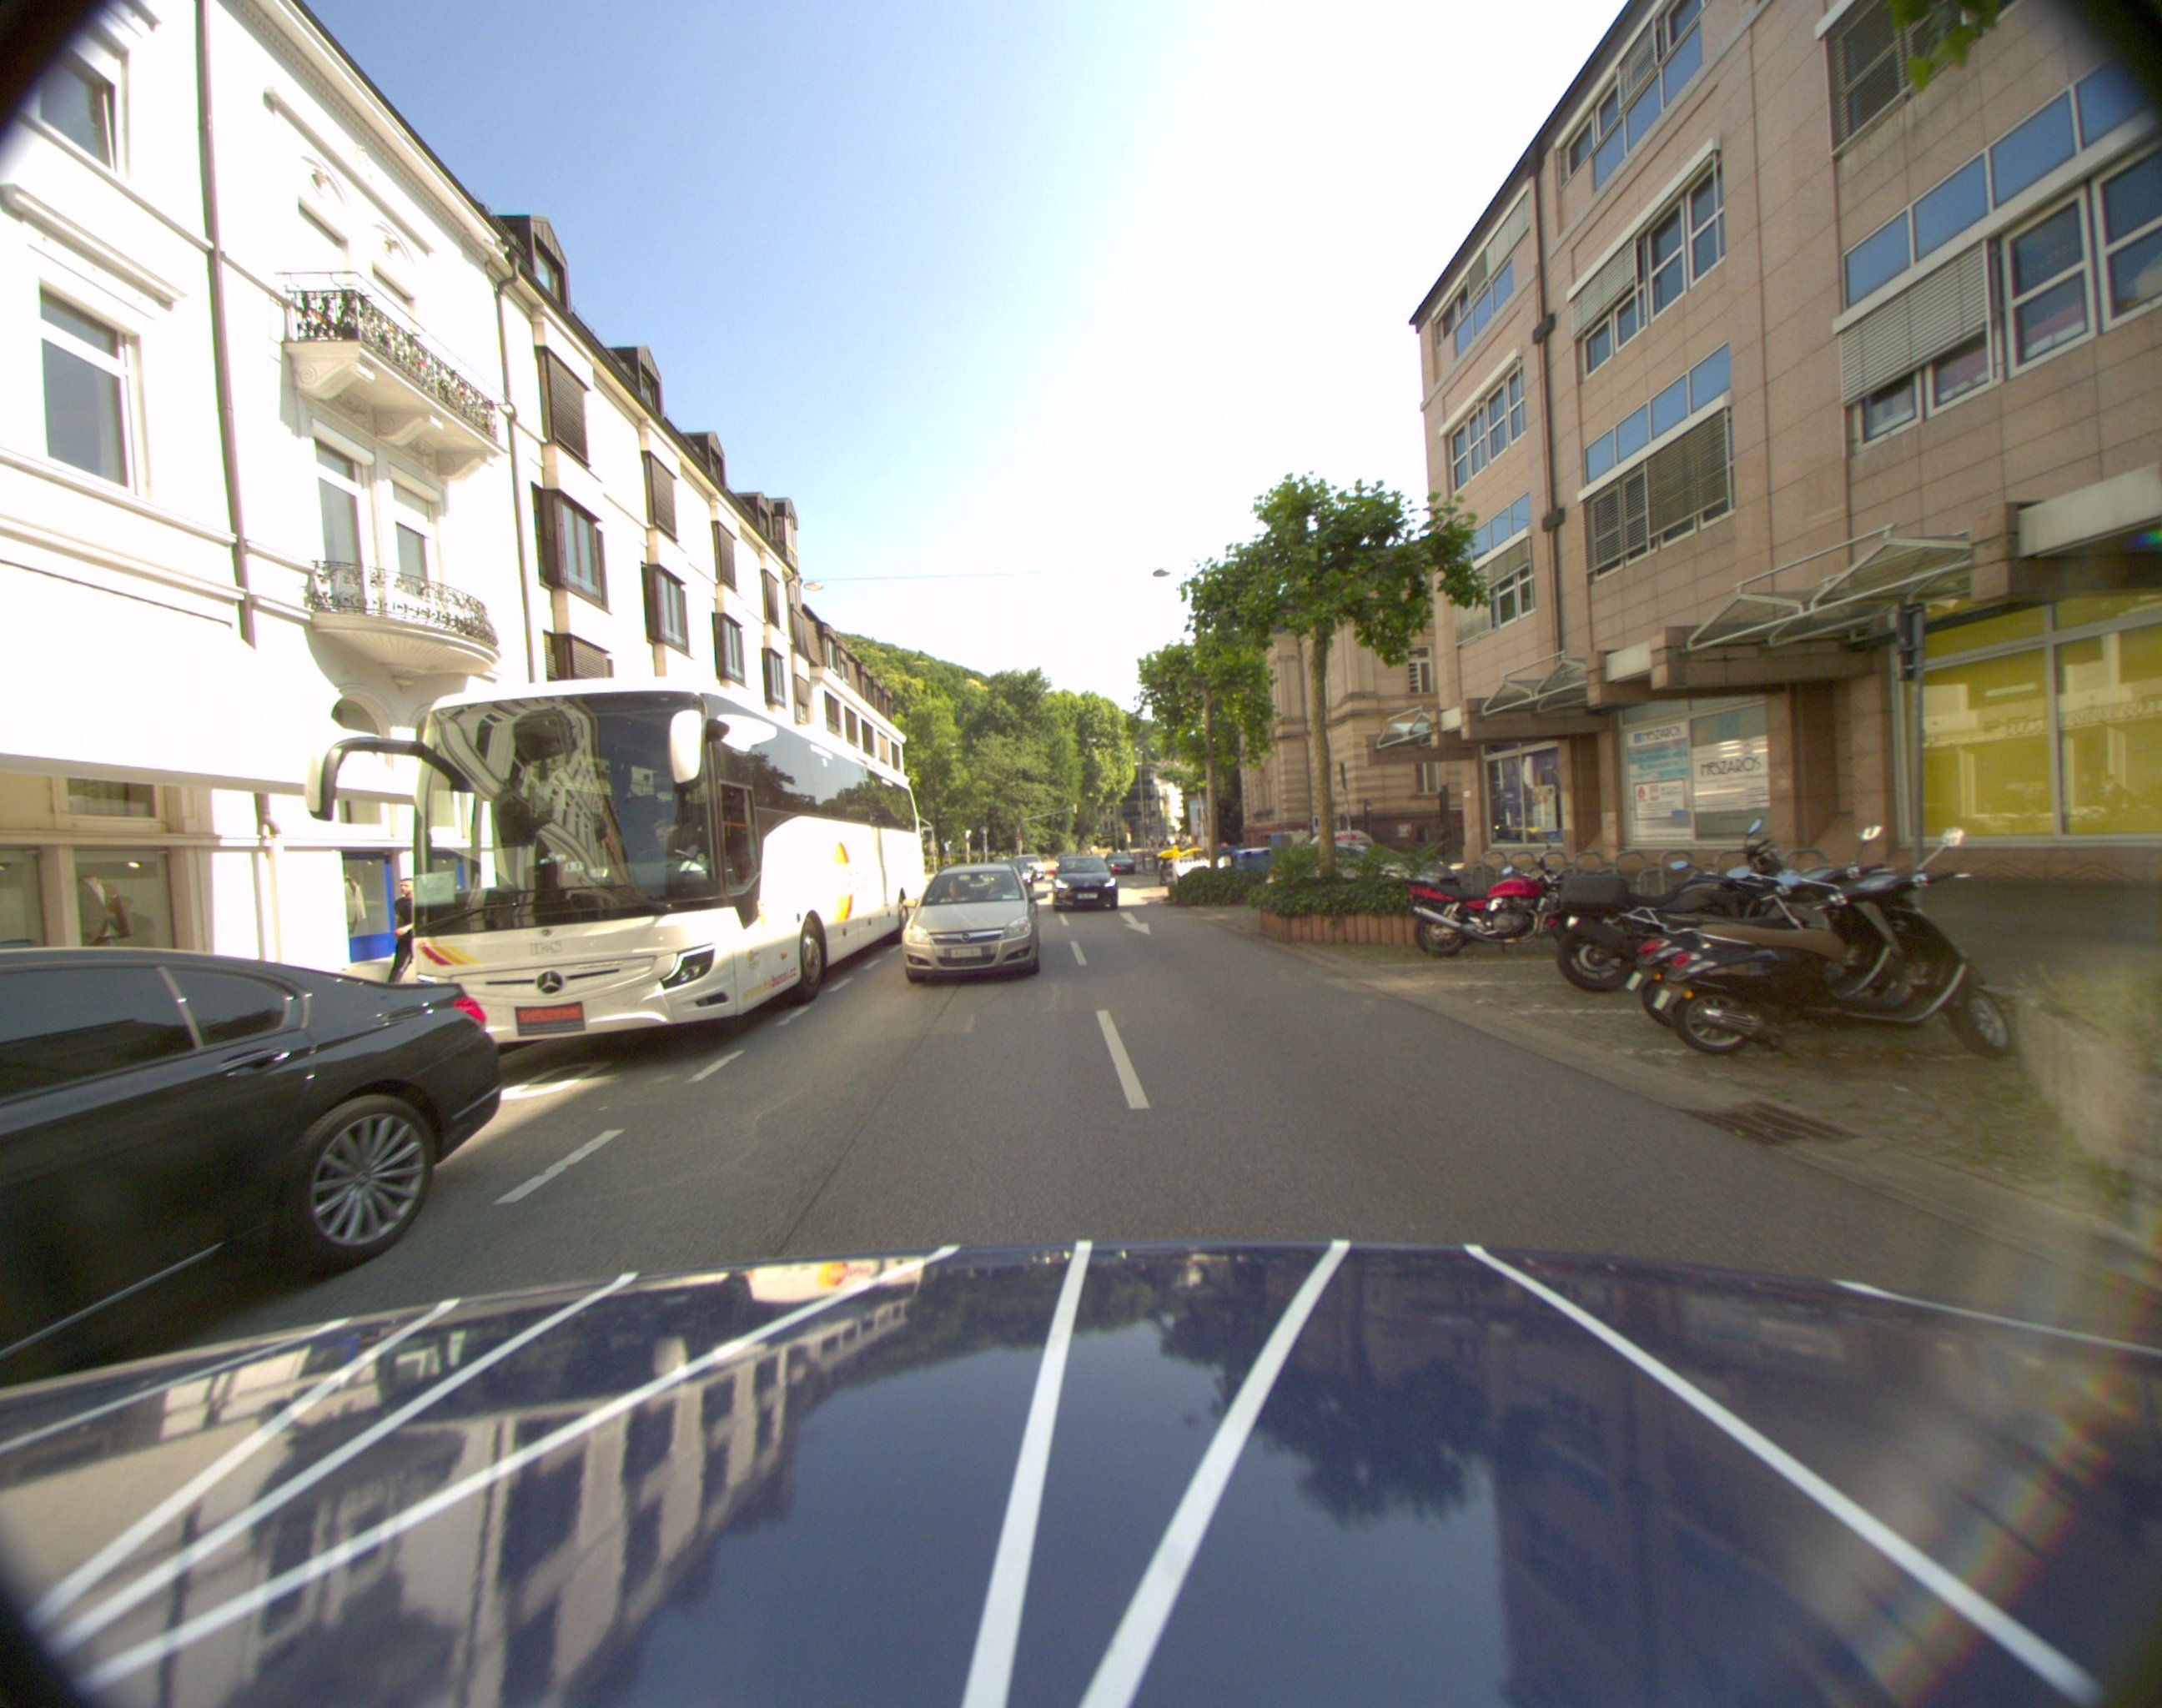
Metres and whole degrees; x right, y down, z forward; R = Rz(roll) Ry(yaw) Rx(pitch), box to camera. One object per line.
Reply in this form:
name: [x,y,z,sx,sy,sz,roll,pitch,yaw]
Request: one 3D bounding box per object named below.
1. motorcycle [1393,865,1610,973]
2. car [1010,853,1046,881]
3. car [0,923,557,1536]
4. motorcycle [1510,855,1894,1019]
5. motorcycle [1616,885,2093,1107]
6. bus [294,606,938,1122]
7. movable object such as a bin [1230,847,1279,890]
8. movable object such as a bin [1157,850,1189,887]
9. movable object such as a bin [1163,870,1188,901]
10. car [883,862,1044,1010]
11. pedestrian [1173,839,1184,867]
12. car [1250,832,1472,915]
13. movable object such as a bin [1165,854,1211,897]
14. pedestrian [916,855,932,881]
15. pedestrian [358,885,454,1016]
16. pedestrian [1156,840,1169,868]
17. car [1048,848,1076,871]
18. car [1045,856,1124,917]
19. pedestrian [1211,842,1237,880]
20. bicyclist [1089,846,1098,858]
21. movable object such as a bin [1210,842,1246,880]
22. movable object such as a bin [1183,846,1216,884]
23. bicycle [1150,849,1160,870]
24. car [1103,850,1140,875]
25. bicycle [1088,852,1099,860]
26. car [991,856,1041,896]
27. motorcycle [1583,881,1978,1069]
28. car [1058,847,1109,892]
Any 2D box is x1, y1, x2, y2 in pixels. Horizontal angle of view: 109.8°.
motorcycle: [5.071,0.800,9.343,2.174,1.163,0.922,-4,0,25]
car: [-3.079,0.713,44.887,1.942,1.421,4.341,-4,1,-2]
car: [-3.938,1.223,1.719,1.864,1.461,5.224,-5,0,-2]
motorcycle: [5.430,0.733,6.944,2.348,1.260,1.295,-4,0,18]
motorcycle: [4.647,0.851,4.764,1.913,1.163,0.761,-4,0,18]
bus: [-4.690,0.029,12.056,2.889,3.720,12.421,-6,1,-3]
movable object such as a bin: [5.776,0.492,25.368,1.212,1.292,1.079,-6,0,-2]
movable object such as a bin: [3.822,0.604,31.839,1.126,1.442,1.439,-5,0,3]
movable object such as a bin: [2.924,0.964,23.551,0.556,0.934,0.499,-2,0,-28]
car: [-1.455,0.970,10.964,1.712,1.513,4.405,-4,1,-2]
pedestrian: [5.993,-0.074,46.878,0.550,1.656,0.937,-3,2,6]
car: [6.024,0.450,16.550,4.048,1.486,1.939,-5,0,39]
movable object such as a bin: [3.518,0.703,25.104,1.280,1.292,0.853,-4,1,-2]
pedestrian: [-11.491,0.991,55.570,0.834,1.825,0.697,-3,2,6]
pedestrian: [-9.475,1.323,10.688,0.568,1.721,0.768,-3,1,-2]
pedestrian: [5.079,-0.003,47.410,0.696,1.686,0.690,-3,3,0]
car: [-1.391,0.378,57.581,1.941,1.421,4.547,-3,3,0]
car: [-0.007,0.828,21.411,1.811,1.443,3.952,-2,1,-5]
pedestrian: [6.823,0.325,36.334,0.892,1.715,0.748,-4,1,-9]
bicyclist: [1.753,-0.294,107.029,0.866,1.566,0.945,-2,3,30]
movable object such as a bin: [6.093,0.289,31.587,1.211,1.442,1.364,-5,0,3]
movable object such as a bin: [4.942,0.449,31.778,1.126,1.442,1.439,-5,0,3]
bicycle: [4.597,0.328,47.130,0.430,1.114,2.243,-5,2,9]
car: [2.495,0.503,47.568,1.941,1.346,4.248,-3,0,-1]
bicycle: [1.785,0.262,107.054,0.782,1.114,1.681,-1,1,31]
car: [-2.815,0.870,32.124,1.849,1.421,4.209,-4,1,-7]
motorcycle: [4.880,0.853,5.479,1.913,1.163,0.729,-4,0,18]
car: [0.032,0.590,31.668,1.890,1.674,4.140,-3,0,-2]
